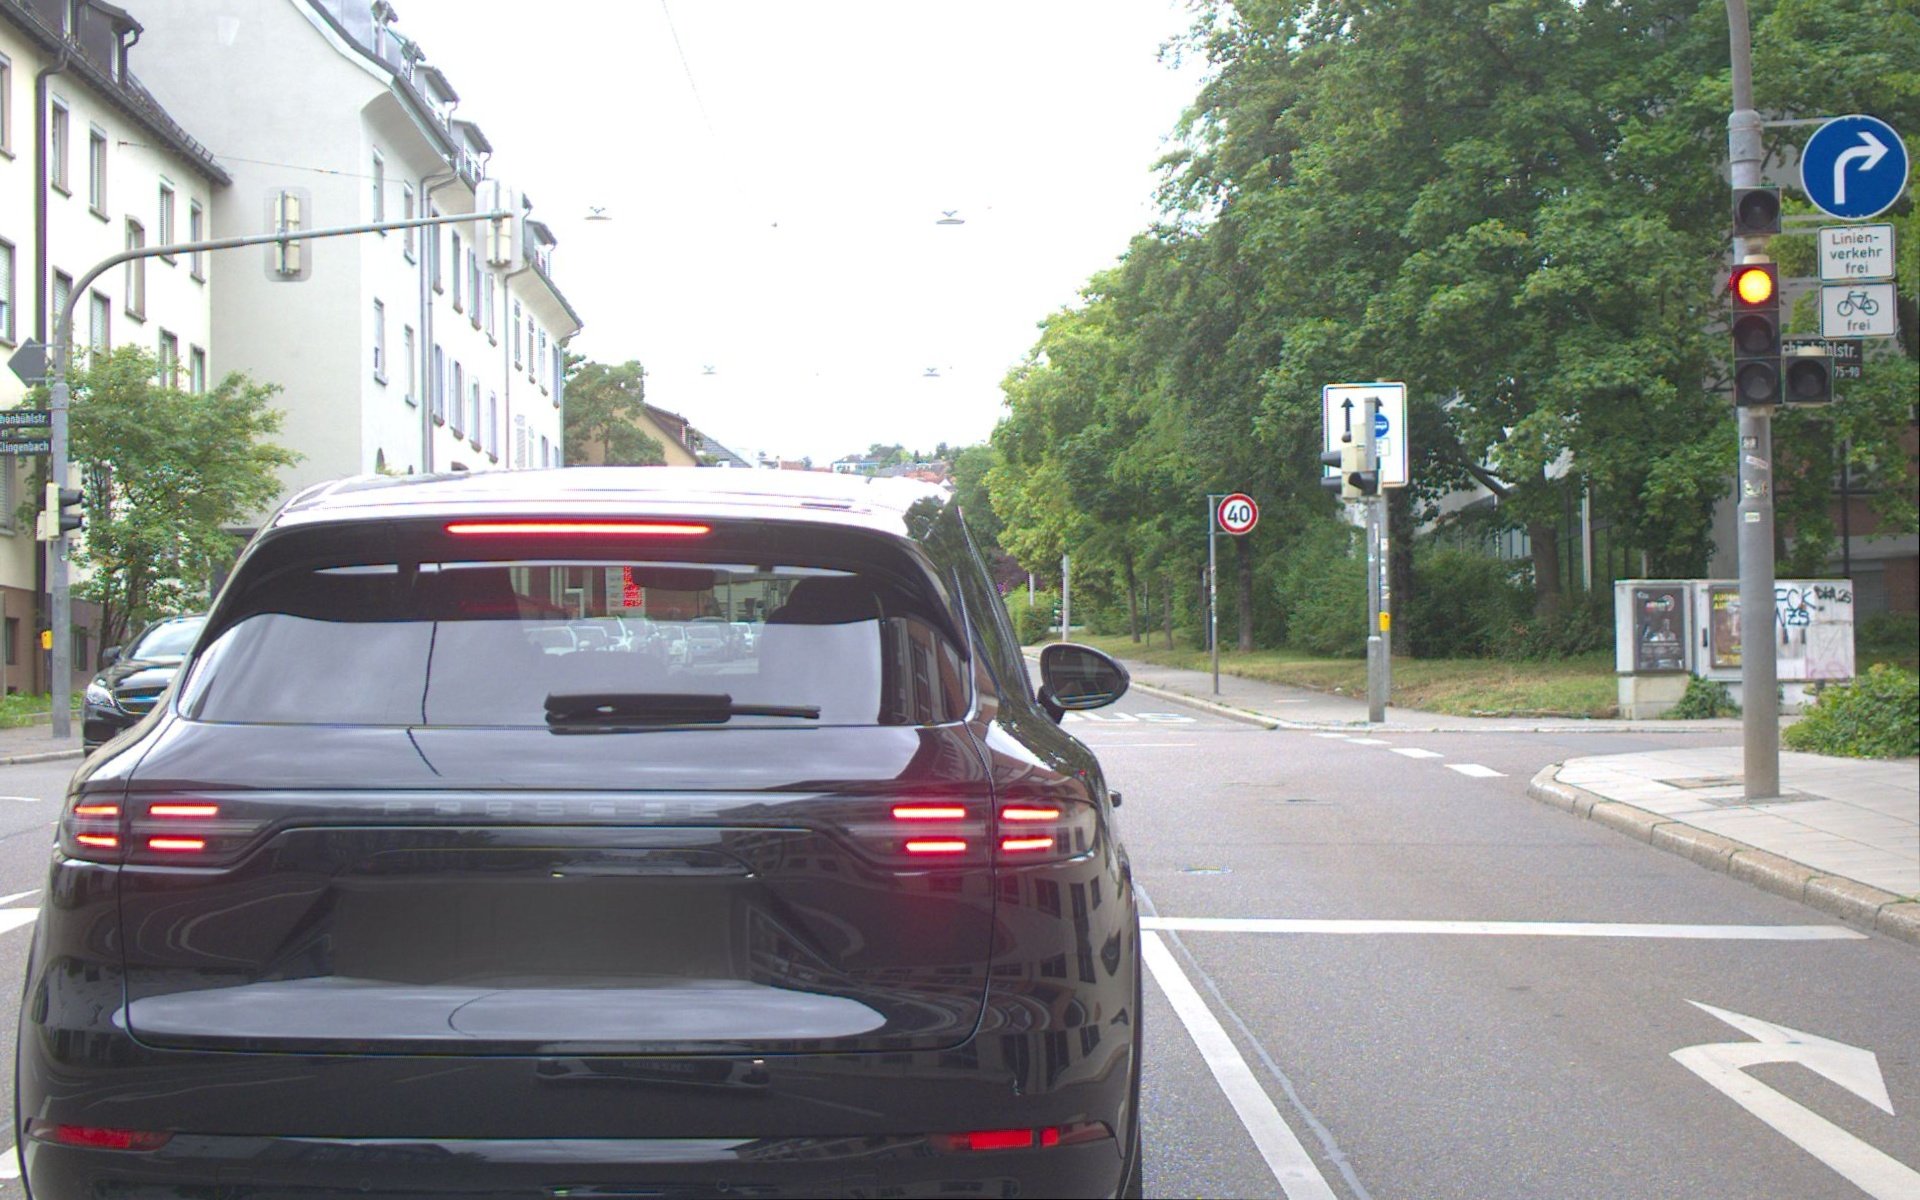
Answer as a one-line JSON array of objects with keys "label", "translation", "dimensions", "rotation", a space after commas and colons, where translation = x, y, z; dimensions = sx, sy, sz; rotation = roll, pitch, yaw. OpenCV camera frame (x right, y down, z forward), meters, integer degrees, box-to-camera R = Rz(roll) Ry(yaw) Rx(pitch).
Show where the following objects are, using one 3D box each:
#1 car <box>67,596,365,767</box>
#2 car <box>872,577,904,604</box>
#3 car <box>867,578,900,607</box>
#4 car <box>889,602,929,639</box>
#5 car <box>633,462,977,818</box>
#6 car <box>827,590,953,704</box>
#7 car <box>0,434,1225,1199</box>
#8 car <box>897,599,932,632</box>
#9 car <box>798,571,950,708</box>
[{"label": "car", "translation": [-6.956, 0.718, 32.600], "dimensions": [1.785, 1.414, 4.670], "rotation": [-2, 0, 0]}, {"label": "car", "translation": [-4.405, -0.590, 210.417], "dimensions": [1.827, 1.599, 4.135], "rotation": [1, 1, 0]}, {"label": "car", "translation": [-4.503, -0.436, 203.092], "dimensions": [1.827, 1.599, 4.135], "rotation": [1, 1, 0]}, {"label": "car", "translation": [-2.384, 0.949, 161.798], "dimensions": [1.827, 1.599, 4.135], "rotation": [1, 1, 0]}, {"label": "car", "translation": [-0.915, 0.196, 22.044], "dimensions": [1.965, 2.035, 4.135], "rotation": [1, 1, 0]}, {"label": "car", "translation": [-1.043, 0.691, 52.687], "dimensions": [1.827, 1.599, 3.859], "rotation": [1, 1, 0]}, {"label": "car", "translation": [-0.647, 0.554, 7.371], "dimensions": [2.048, 1.660, 4.267], "rotation": [1, 1, 0]}, {"label": "car", "translation": [-2.404, 0.808, 182.632], "dimensions": [1.827, 1.599, 4.135], "rotation": [1, 1, 0]}, {"label": "car", "translation": [-1.067, 0.469, 43.969], "dimensions": [1.827, 1.599, 4.135], "rotation": [1, 1, 0]}]
